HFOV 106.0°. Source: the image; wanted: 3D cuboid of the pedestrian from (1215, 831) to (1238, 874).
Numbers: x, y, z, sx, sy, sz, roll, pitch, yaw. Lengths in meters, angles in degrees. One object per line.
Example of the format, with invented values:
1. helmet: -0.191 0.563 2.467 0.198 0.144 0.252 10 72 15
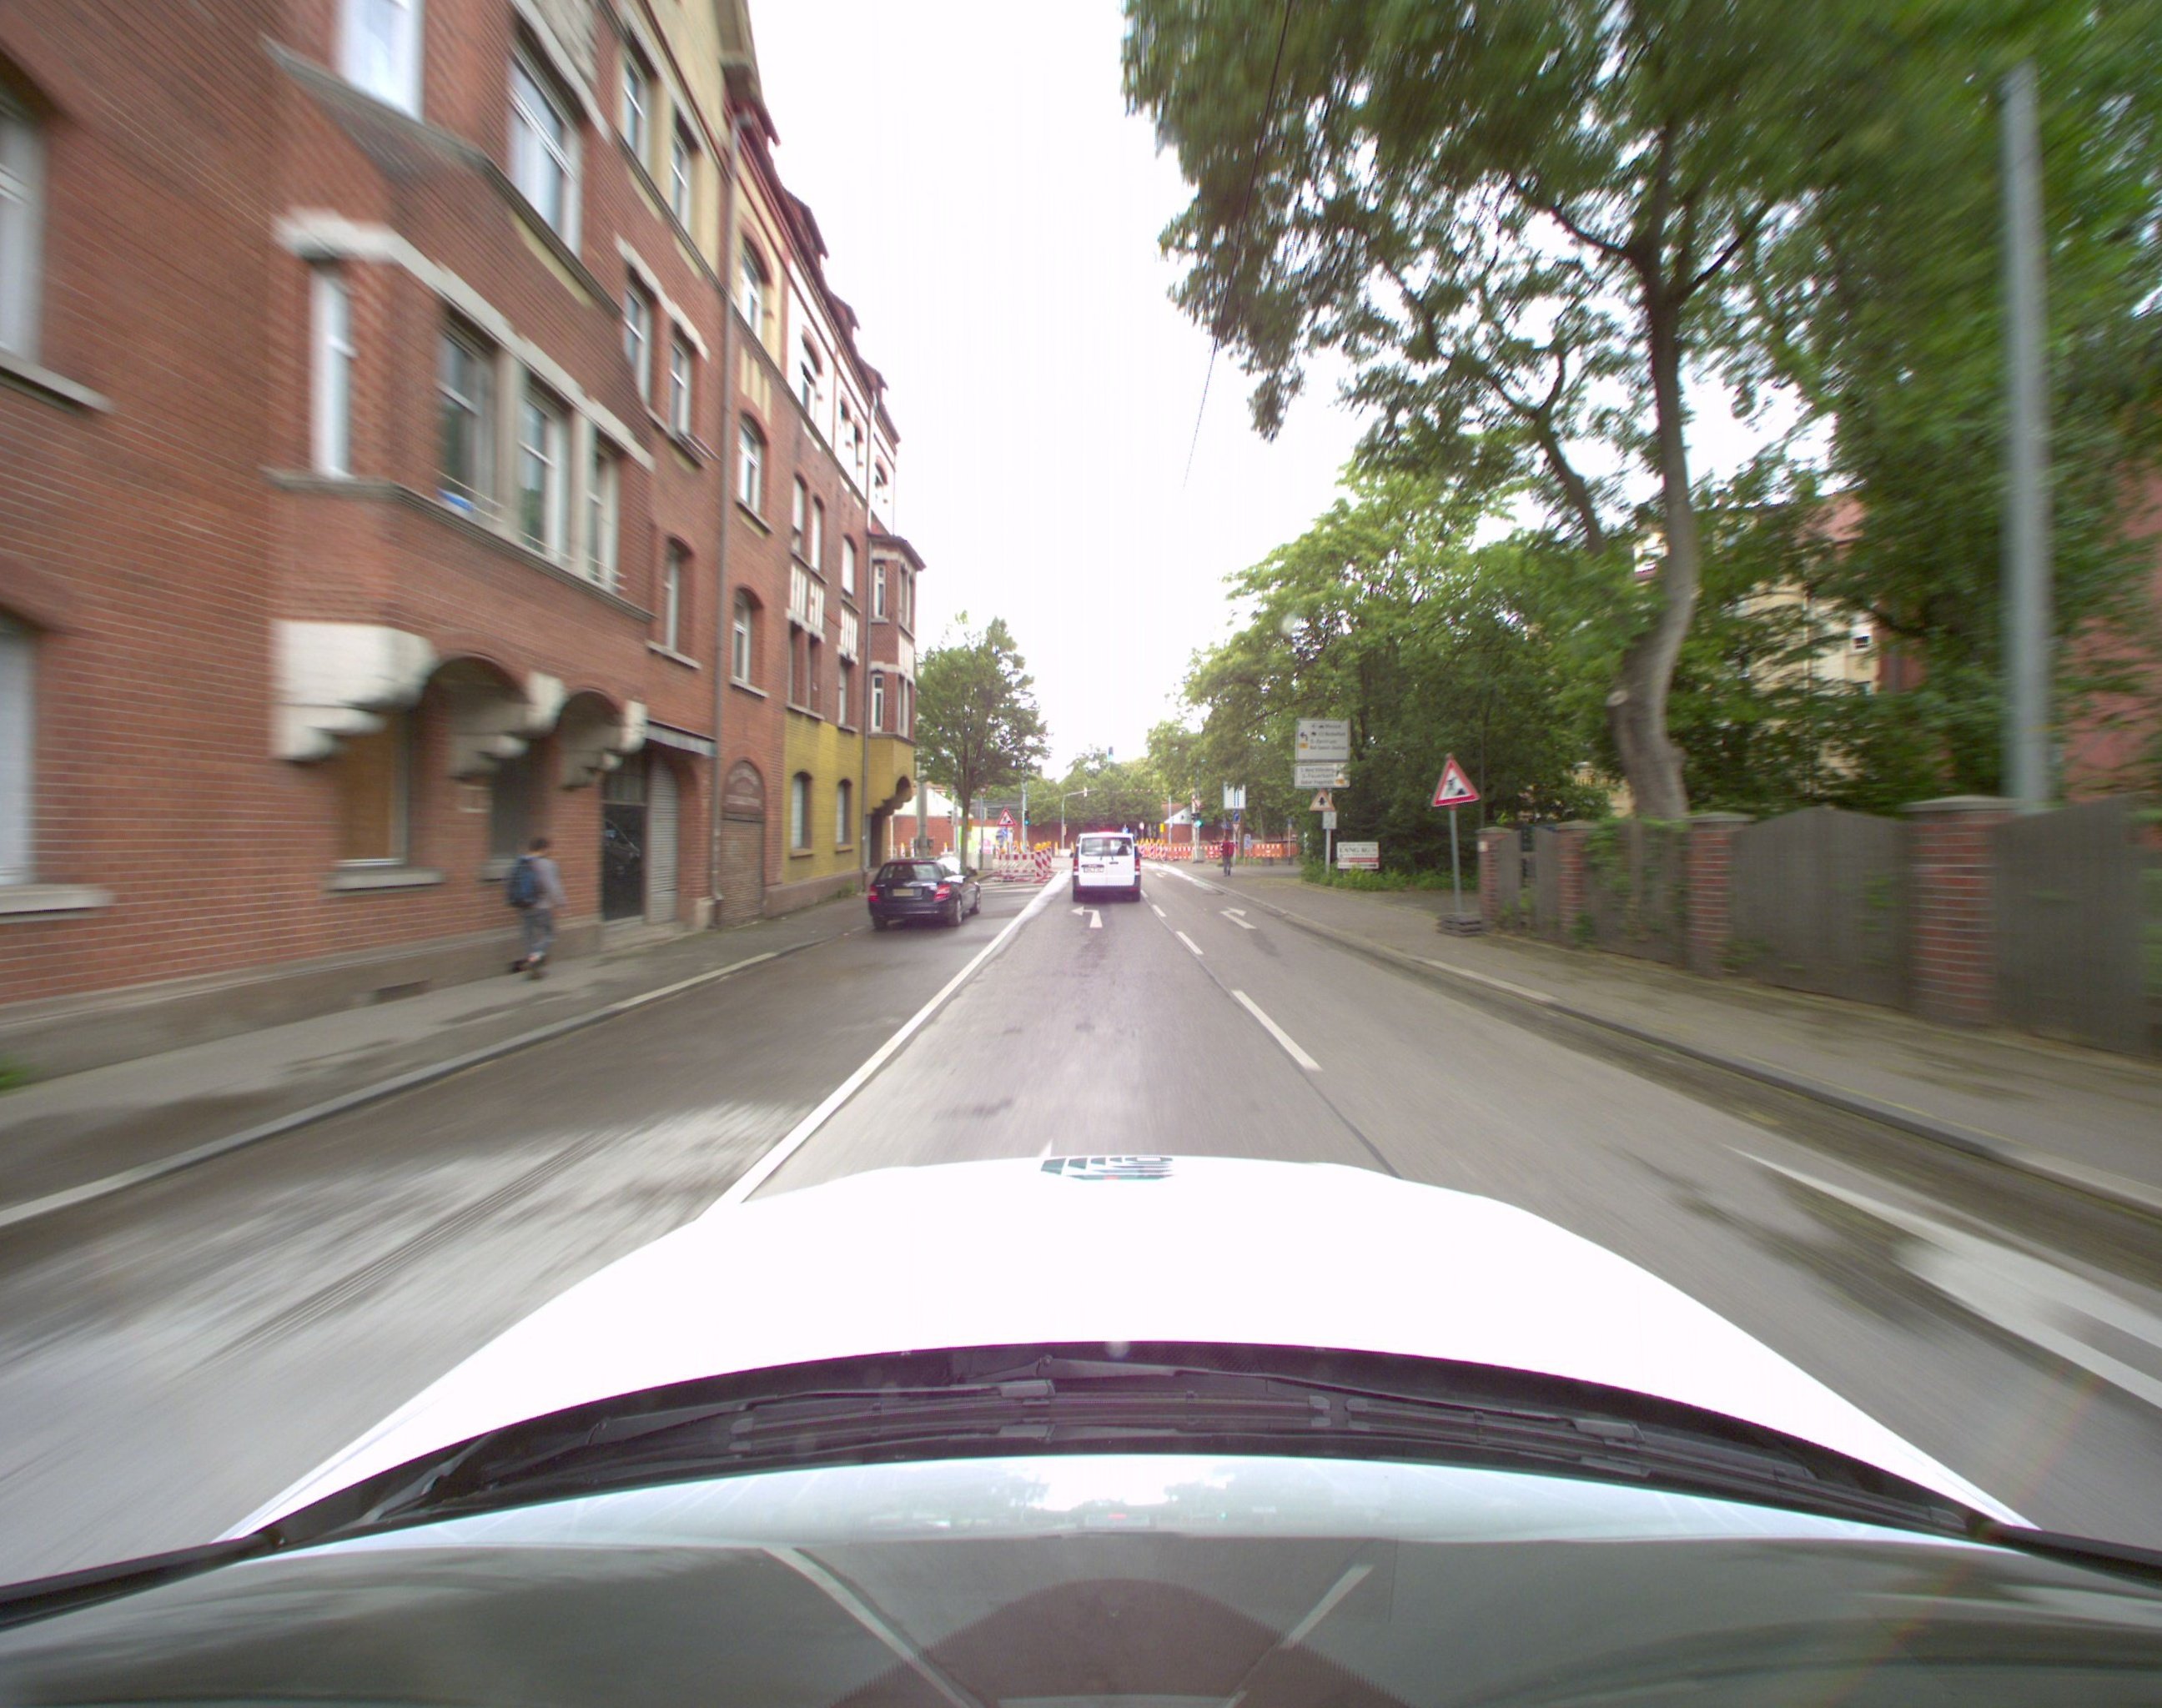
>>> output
1. pedestrian: 6.346 -0.060 35.563 0.776 1.831 0.728 -3 1 1

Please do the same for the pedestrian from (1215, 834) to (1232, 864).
1. pedestrian: 8.472 -0.311 48.322 0.730 1.697 0.836 -2 1 -8

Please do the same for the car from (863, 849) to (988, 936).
1. car: -3.248 0.726 17.857 1.718 1.485 4.394 1 3 2

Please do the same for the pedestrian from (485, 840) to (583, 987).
1. pedestrian: -6.304 0.661 9.410 0.657 1.609 0.633 2 1 1

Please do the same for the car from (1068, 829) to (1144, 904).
1. car: 0.696 0.372 23.813 1.911 1.901 4.701 2 -1 1
